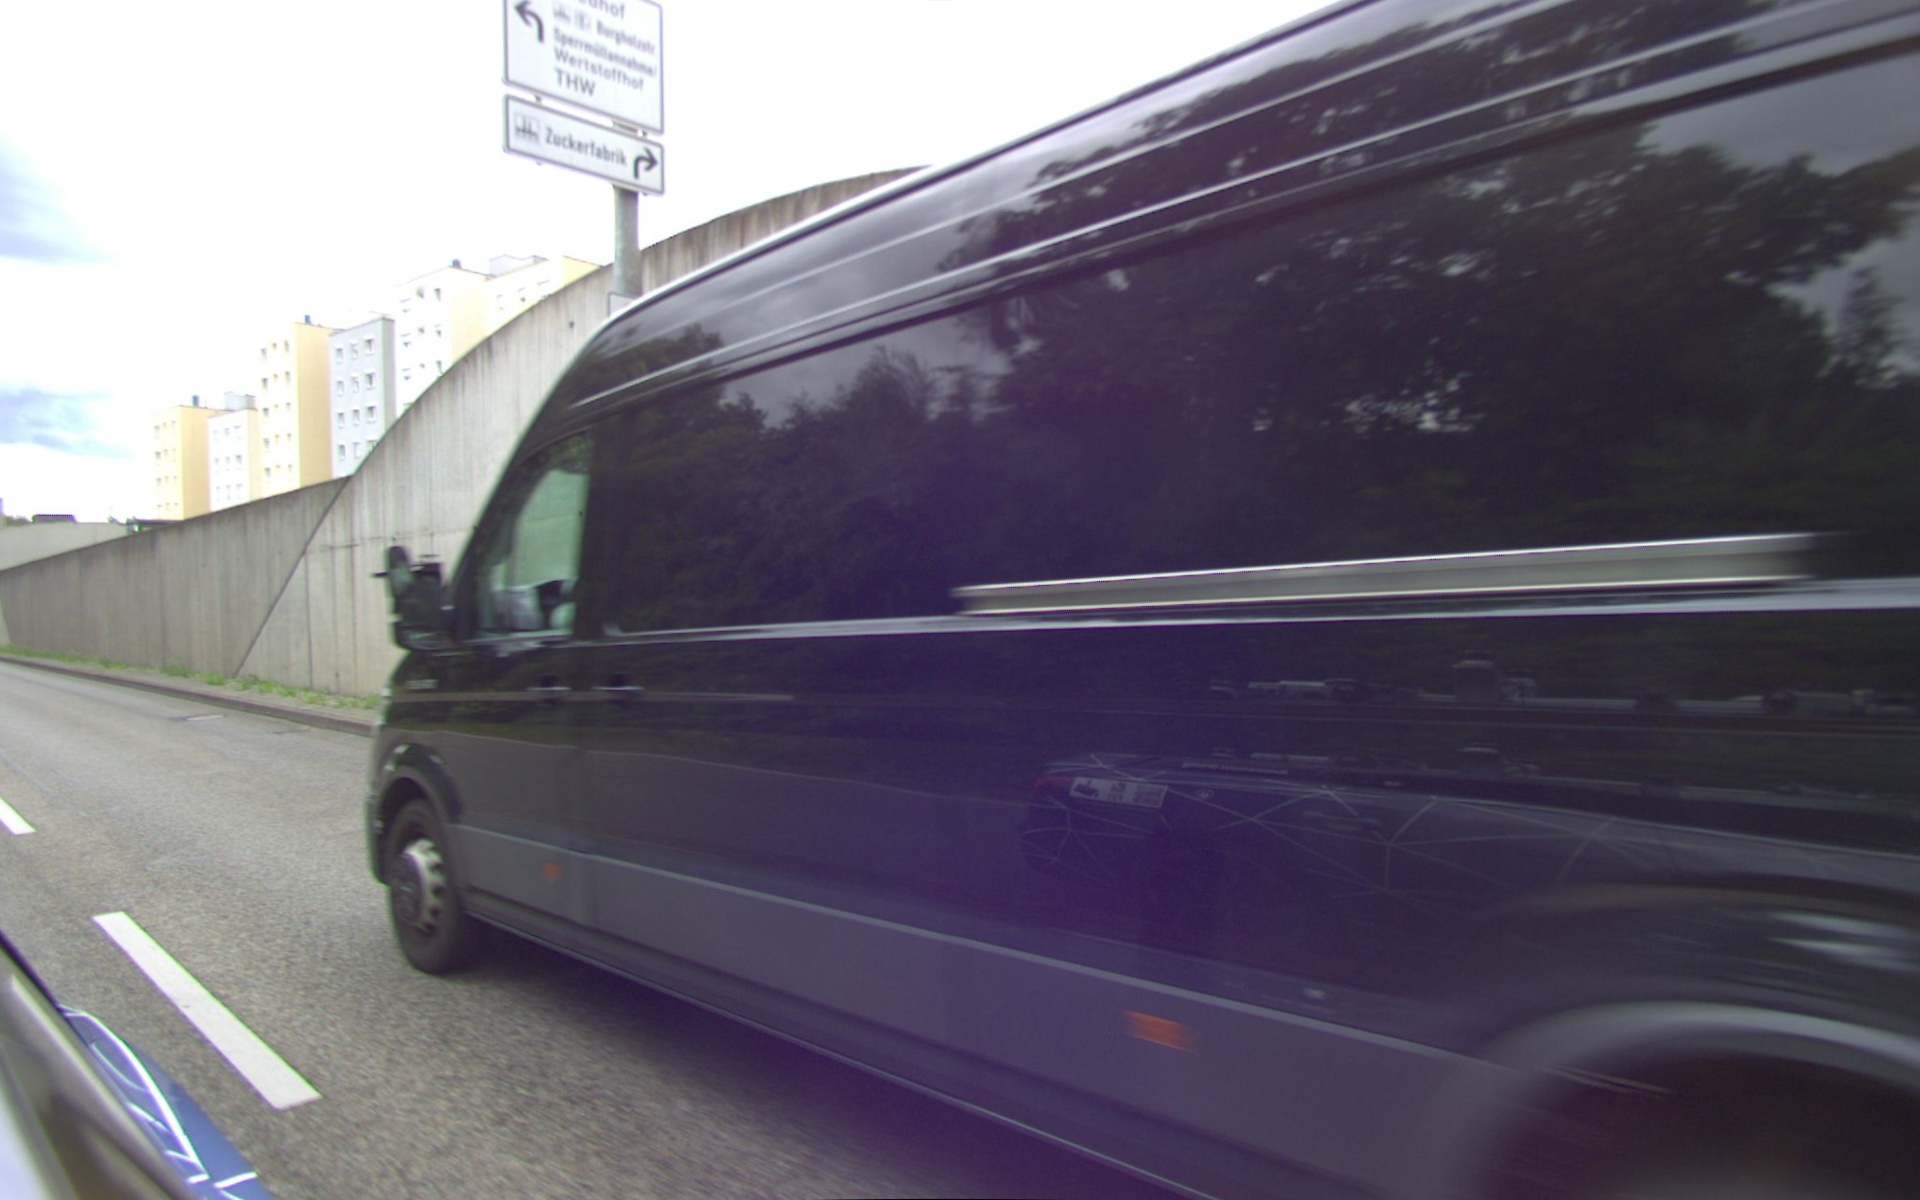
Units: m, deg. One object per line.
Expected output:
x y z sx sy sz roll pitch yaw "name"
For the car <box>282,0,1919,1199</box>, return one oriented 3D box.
0.205 0.097 3.220 7.413 2.650 2.088 -1 -1 41 "car"
